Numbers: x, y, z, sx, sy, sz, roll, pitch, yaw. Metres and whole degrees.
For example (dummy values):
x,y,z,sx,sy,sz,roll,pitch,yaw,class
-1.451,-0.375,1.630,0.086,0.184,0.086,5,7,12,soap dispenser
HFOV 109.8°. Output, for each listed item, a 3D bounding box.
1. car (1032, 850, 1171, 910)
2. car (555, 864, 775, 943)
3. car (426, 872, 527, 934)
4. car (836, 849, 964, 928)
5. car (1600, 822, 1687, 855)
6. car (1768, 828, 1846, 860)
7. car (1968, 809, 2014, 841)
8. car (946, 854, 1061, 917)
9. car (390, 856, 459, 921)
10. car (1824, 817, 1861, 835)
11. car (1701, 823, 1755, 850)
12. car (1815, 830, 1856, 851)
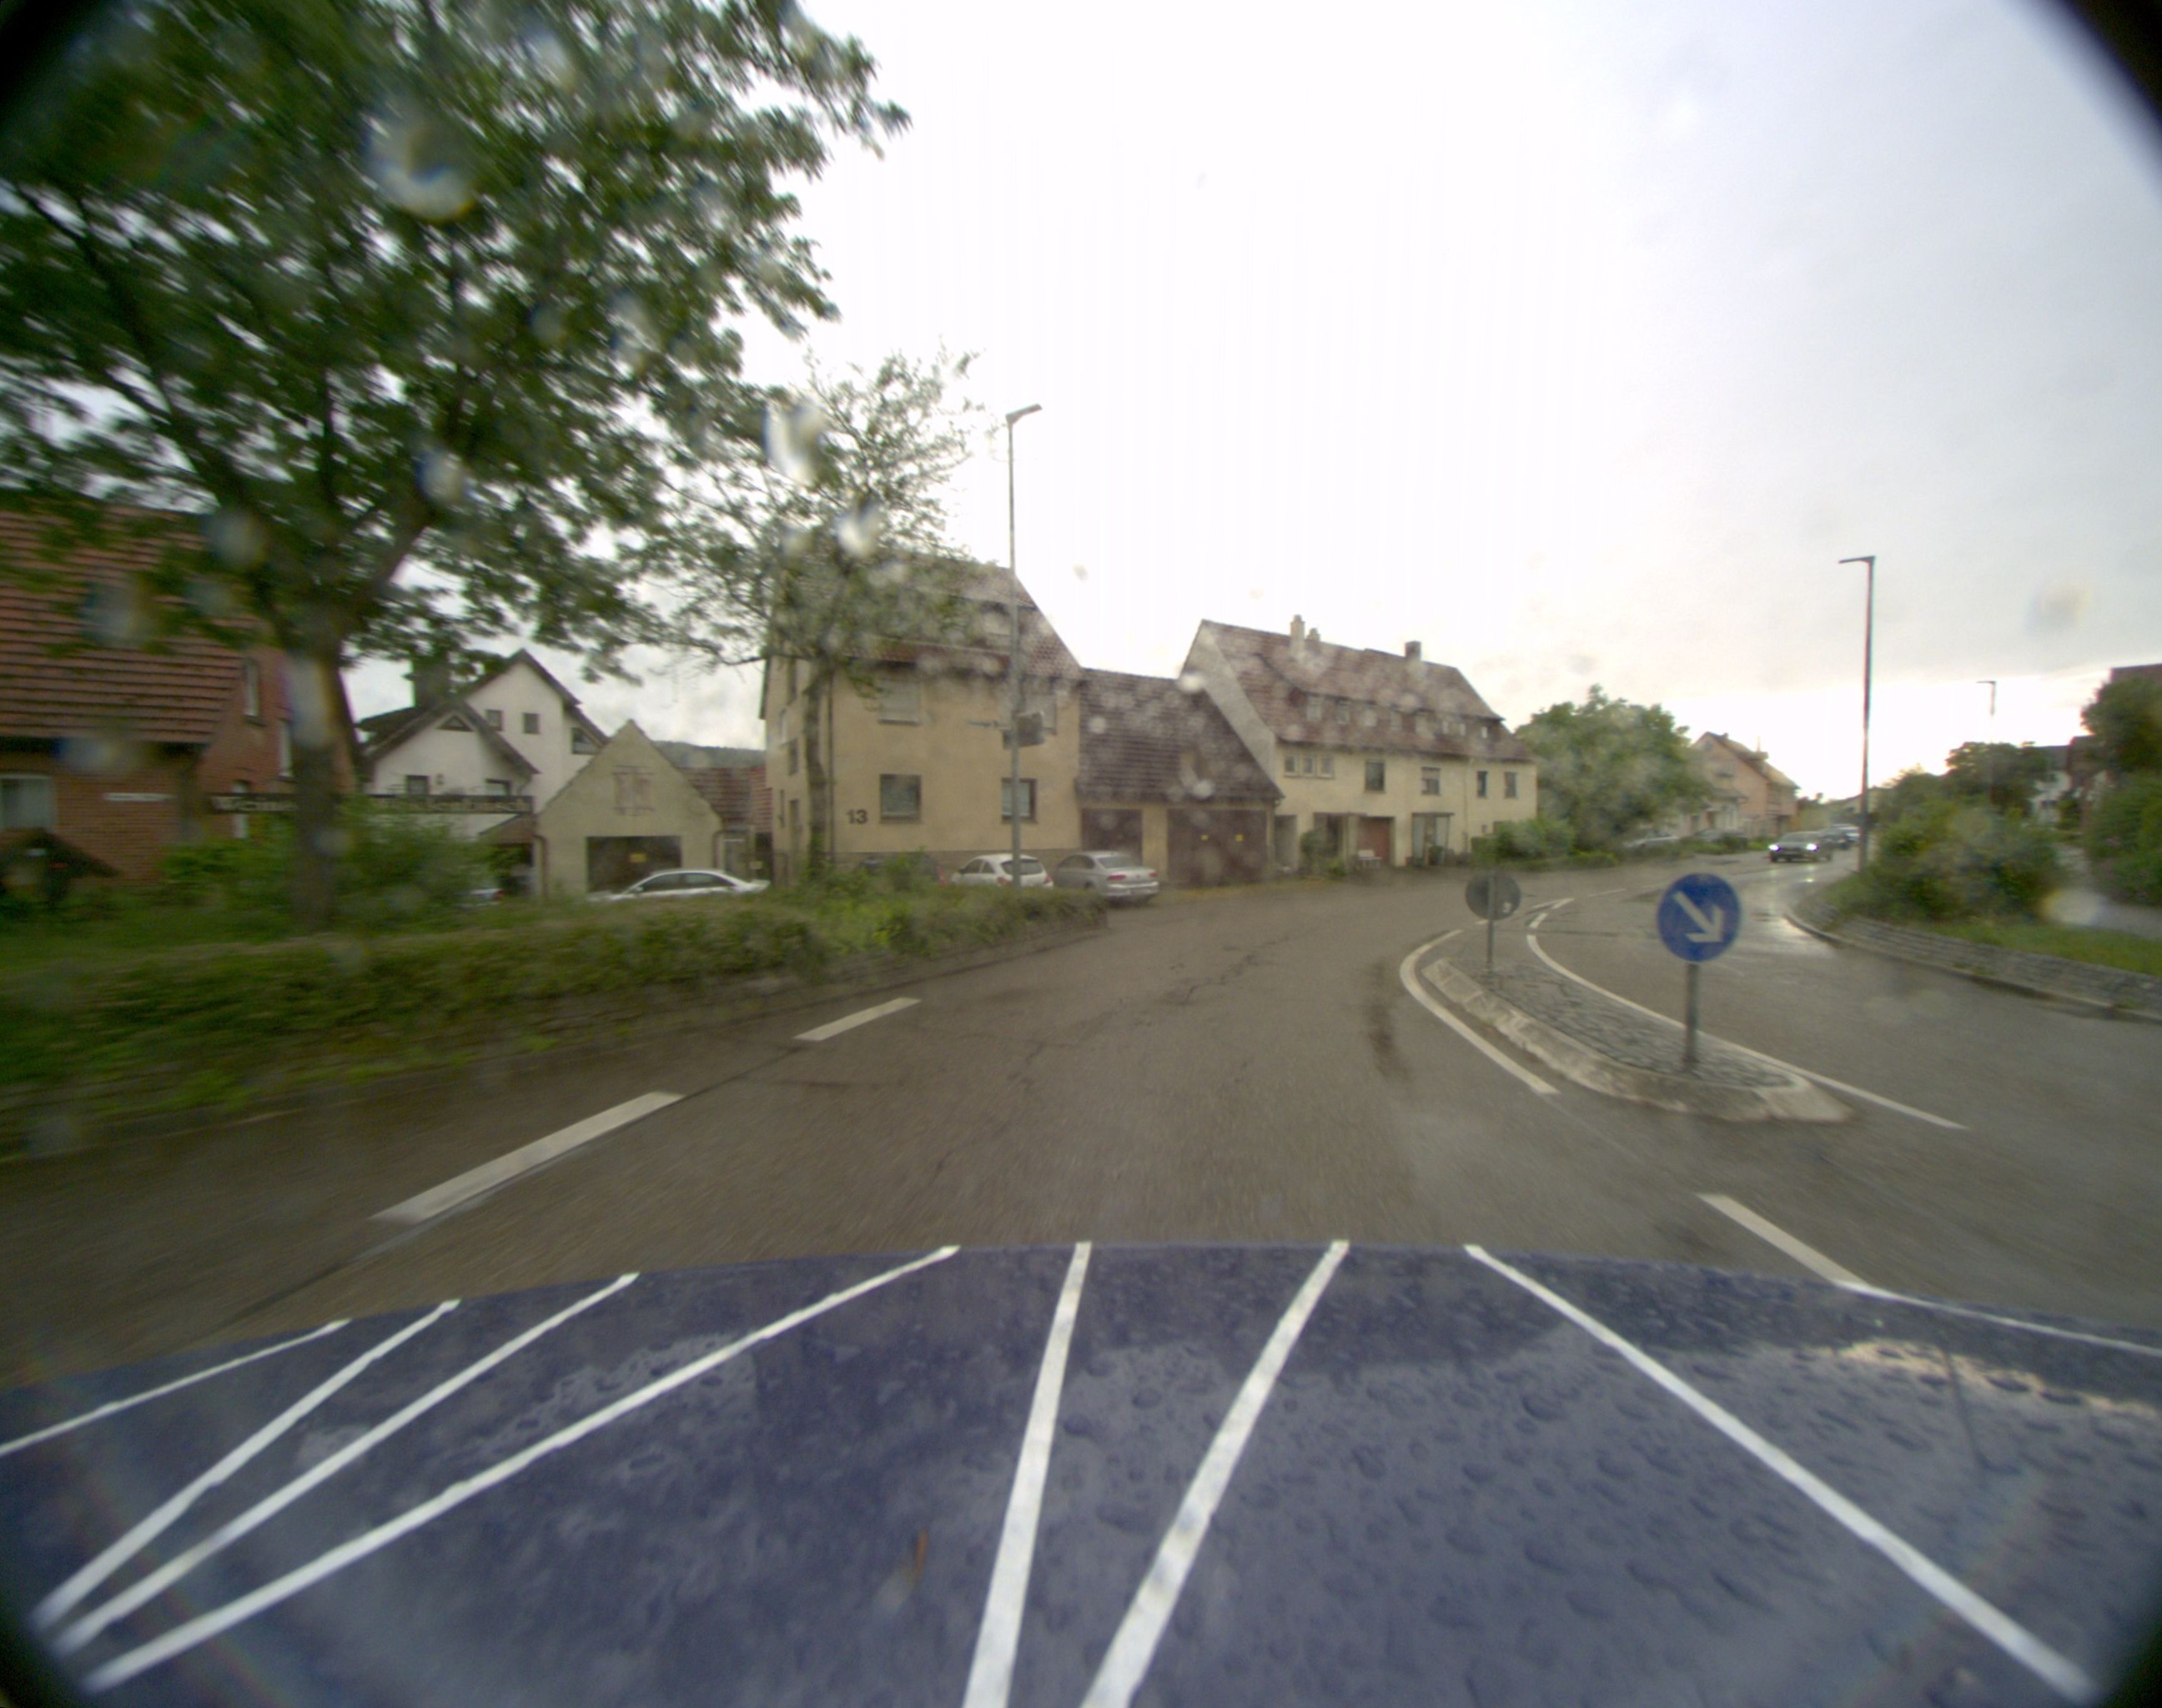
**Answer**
x,y,z,sx,sy,sz,roll,pitch,yaw,class
0.465,0.649,22.104,1.824,1.407,4.615,-3,3,-31,car
-9.635,1.073,17.872,4.271,1.431,1.903,-2,3,-29,car
-17.174,1.311,21.771,1.604,1.488,3.991,-3,1,-30,car
-4.719,0.782,19.441,1.751,1.574,3.988,-4,5,-35,car
31.463,-0.891,42.504,4.484,1.701,1.909,-2,2,-23,car
37.033,-0.518,38.748,4.006,1.521,1.995,-2,1,-33,car
59.731,-1.910,49.896,4.197,1.912,1.842,-3,1,-40,car
-2.189,0.792,20.847,1.721,1.521,3.423,-3,2,-33,car
-22.459,1.111,26.058,1.602,2.002,3.989,-3,2,-40,car
67.579,-2.477,67.431,4.007,1.521,1.994,-3,1,-41,car
42.667,-1.163,50.081,4.077,1.644,1.994,-3,3,-39,car
55.452,-0.992,55.816,4.007,1.456,1.784,-3,3,-40,car
